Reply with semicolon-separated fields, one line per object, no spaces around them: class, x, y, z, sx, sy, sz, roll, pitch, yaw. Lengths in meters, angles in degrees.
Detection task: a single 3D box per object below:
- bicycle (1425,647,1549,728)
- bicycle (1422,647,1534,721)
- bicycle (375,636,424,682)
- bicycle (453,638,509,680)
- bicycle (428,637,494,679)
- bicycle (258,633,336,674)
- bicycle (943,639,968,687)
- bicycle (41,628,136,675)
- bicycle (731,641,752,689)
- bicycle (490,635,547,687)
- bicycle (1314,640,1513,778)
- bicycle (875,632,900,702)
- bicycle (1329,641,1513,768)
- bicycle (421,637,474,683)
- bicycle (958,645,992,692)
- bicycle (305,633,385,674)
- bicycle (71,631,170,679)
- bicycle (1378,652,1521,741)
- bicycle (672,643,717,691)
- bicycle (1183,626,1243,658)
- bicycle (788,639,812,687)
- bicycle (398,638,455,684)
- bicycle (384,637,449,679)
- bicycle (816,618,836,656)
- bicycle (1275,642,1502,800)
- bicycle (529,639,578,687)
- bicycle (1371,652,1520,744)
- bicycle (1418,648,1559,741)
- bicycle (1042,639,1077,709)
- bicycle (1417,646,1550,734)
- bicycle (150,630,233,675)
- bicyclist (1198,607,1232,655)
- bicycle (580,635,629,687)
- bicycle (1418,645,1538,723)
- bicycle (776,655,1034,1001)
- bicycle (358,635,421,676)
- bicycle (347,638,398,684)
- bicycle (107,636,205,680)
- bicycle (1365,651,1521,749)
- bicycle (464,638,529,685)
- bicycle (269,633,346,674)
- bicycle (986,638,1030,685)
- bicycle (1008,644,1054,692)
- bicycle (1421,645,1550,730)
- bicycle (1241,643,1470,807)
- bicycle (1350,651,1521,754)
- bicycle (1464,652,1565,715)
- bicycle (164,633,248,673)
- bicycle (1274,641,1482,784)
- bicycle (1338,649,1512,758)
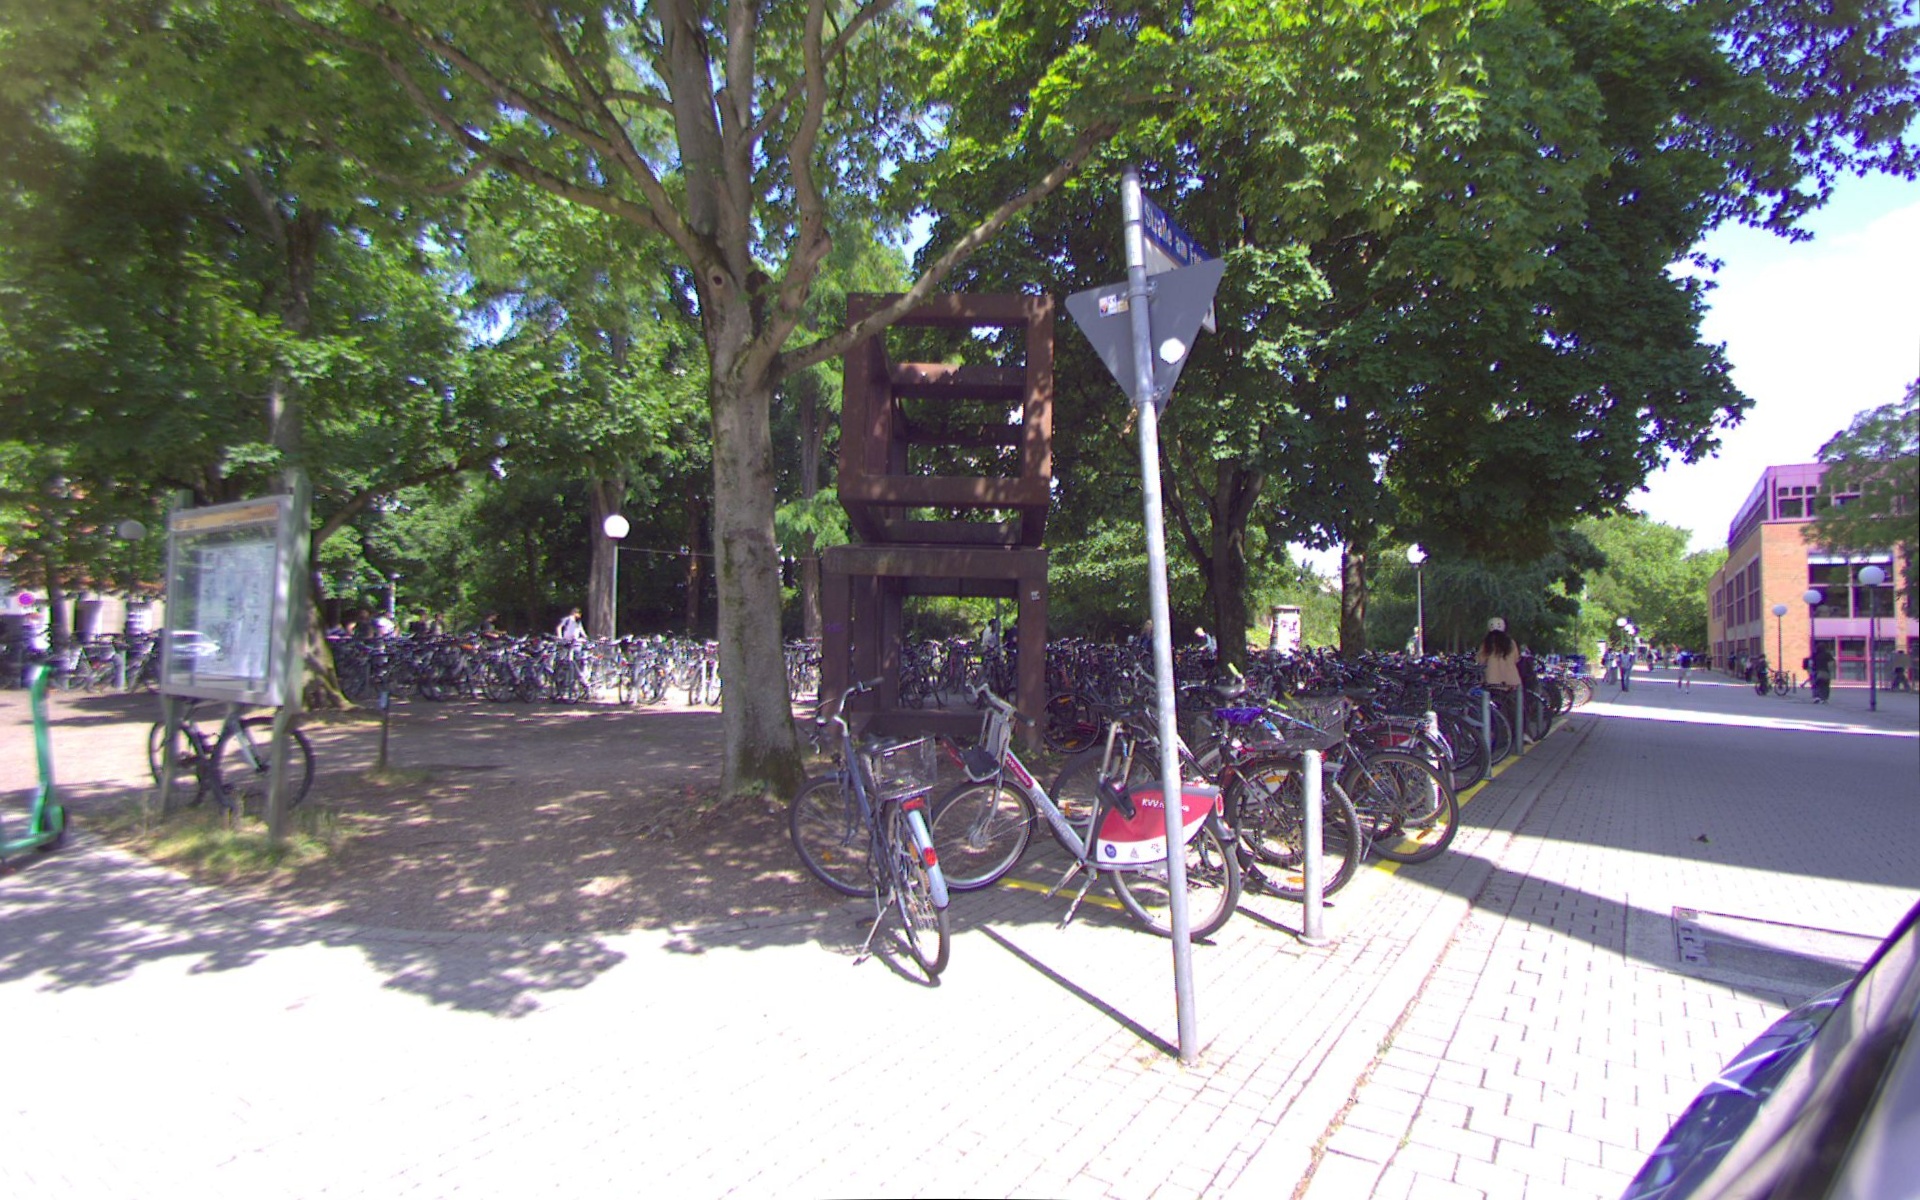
bicycle;8.110;1.333;15.610;1.674;1.144;0.449;1;-4;31
bicycle;8.781;1.416;17.171;1.674;1.144;0.449;1;-4;31
bicycle;-12.933;1.336;23.393;0.468;0.991;1.907;0;-1;-13
bicycle;-12.059;1.472;25.514;0.301;0.991;1.880;0;-1;7
bicycle;-12.578;1.458;25.593;0.435;0.991;1.897;0;-1;11
bicycle;-17.071;1.364;26.108;0.471;0.991;1.897;-1;-1;12
bicycle;-0.114;1.388;22.775;0.469;0.991;1.904;0;-1;-3
bicycle;-21.812;1.271;25.374;0.603;1.133;1.801;-1;-1;13
bicycle;-4.818;1.408;22.276;0.370;0.991;1.907;0;-1;-15
bicycle;-9.912;1.343;22.783;0.469;1.096;1.904;0;-1;-1
bicycle;4.419;1.012;9.916;1.686;1.165;0.619;1;0;37
bicycle;-1.317;1.188;18.365;0.405;1.185;1.846;1;-2;-4
bicycle;4.756;1.052;10.501;1.680;1.166;0.621;1;-4;27
bicycle;-11.805;1.364;23.367;0.469;0.991;1.905;0;-1;-7
bicycle;0.327;1.530;22.984;0.469;0.991;1.906;0;-1;-8
bicycle;-15.737;1.356;25.955;0.603;0.991;1.896;-1;-1;13
bicycle;-20.719;1.333;25.025;0.603;1.133;1.896;-1;-1;13
bicycle;6.515;1.262;13.496;1.674;1.061;0.495;1;-4;31
bicycle;-5.899;1.466;22.566;0.372;0.991;1.901;0;-1;5
bicycle;7.917;1.296;31.657;1.717;0.943;0.587;0;0;-8
bicycle;-3.558;1.370;22.431;0.371;0.991;1.907;0;-1;-13
bicycle;-12.332;1.383;23.434;0.469;0.991;1.905;0;-1;-6
bicycle;-13.564;1.427;25.321;0.470;0.991;1.901;0;-1;5
bicycle;-4.066;1.104;30.727;0.469;1.107;1.611;0;-1;-3
bicycle;3.612;0.969;8.613;1.689;1.139;0.557;1;0;41
bicycle;-9.130;1.401;22.801;0.469;0.991;1.905;0;-1;-4
bicycle;6.226;1.235;12.999;1.674;1.061;0.611;1;-4;31
bicycle;7.163;1.260;13.759;1.674;1.144;0.449;1;-4;31
bicycle;1.795;1.312;18.443;0.428;1.185;1.844;1;-2;0
bicycle;7.507;1.273;14.546;1.674;1.144;0.449;1;-4;31
bicycle;-20.818;1.406;27.452;0.472;1.158;1.894;-1;-1;15
bicyclist;7.986;0.960;31.674;0.787;1.465;0.745;1;-2;-8
bicycle;-7.987;1.343;22.820;0.469;1.096;1.904;0;-1;-1
bicycle;8.274;1.325;16.184;1.674;1.144;0.449;1;-4;31
bicycle;-0.339;0.862;4.551;0.594;1.156;1.789;0;-1;-22
bicycle;-14.680;1.402;26.108;0.526;0.991;1.903;0;-1;1
bicycle;-13.484;1.379;23.269;0.468;0.991;1.907;0;-1;-13
bicycle;-19.570;1.396;24.683;0.603;0.991;1.896;-1;-1;13
bicycle;5.891;1.194;12.369;1.674;1.061;0.611;1;-4;31
bicycle;-10.494;1.381;22.966;0.470;0.991;1.901;0;-1;5
bicycle;-16.719;1.359;25.984;0.471;0.991;1.897;-1;-1;12
bicycle;1.073;1.373;23.005;0.468;0.991;1.907;0;-1;-14
bicycle;1.605;1.527;23.034;0.468;0.991;1.907;0;-1;-14
bicycle;7.827;1.288;15.105;1.674;1.144;0.449;1;-4;31
bicycle;3.200;0.965;8.294;1.689;1.139;0.475;1;0;41
bicycle;5.508;1.166;11.781;1.690;1.061;0.608;-1;-5;43
bicycle;10.532;1.569;19.249;1.675;1.098;0.473;1;-4;31
bicycle;-20.056;1.398;26.954;0.472;0.991;1.894;-1;-1;15
bicycle;3.871;0.995;9.446;1.689;1.139;0.618;1;0;41
bicycle;5.068;1.105;11.080;1.680;1.061;0.562;1;-4;28
